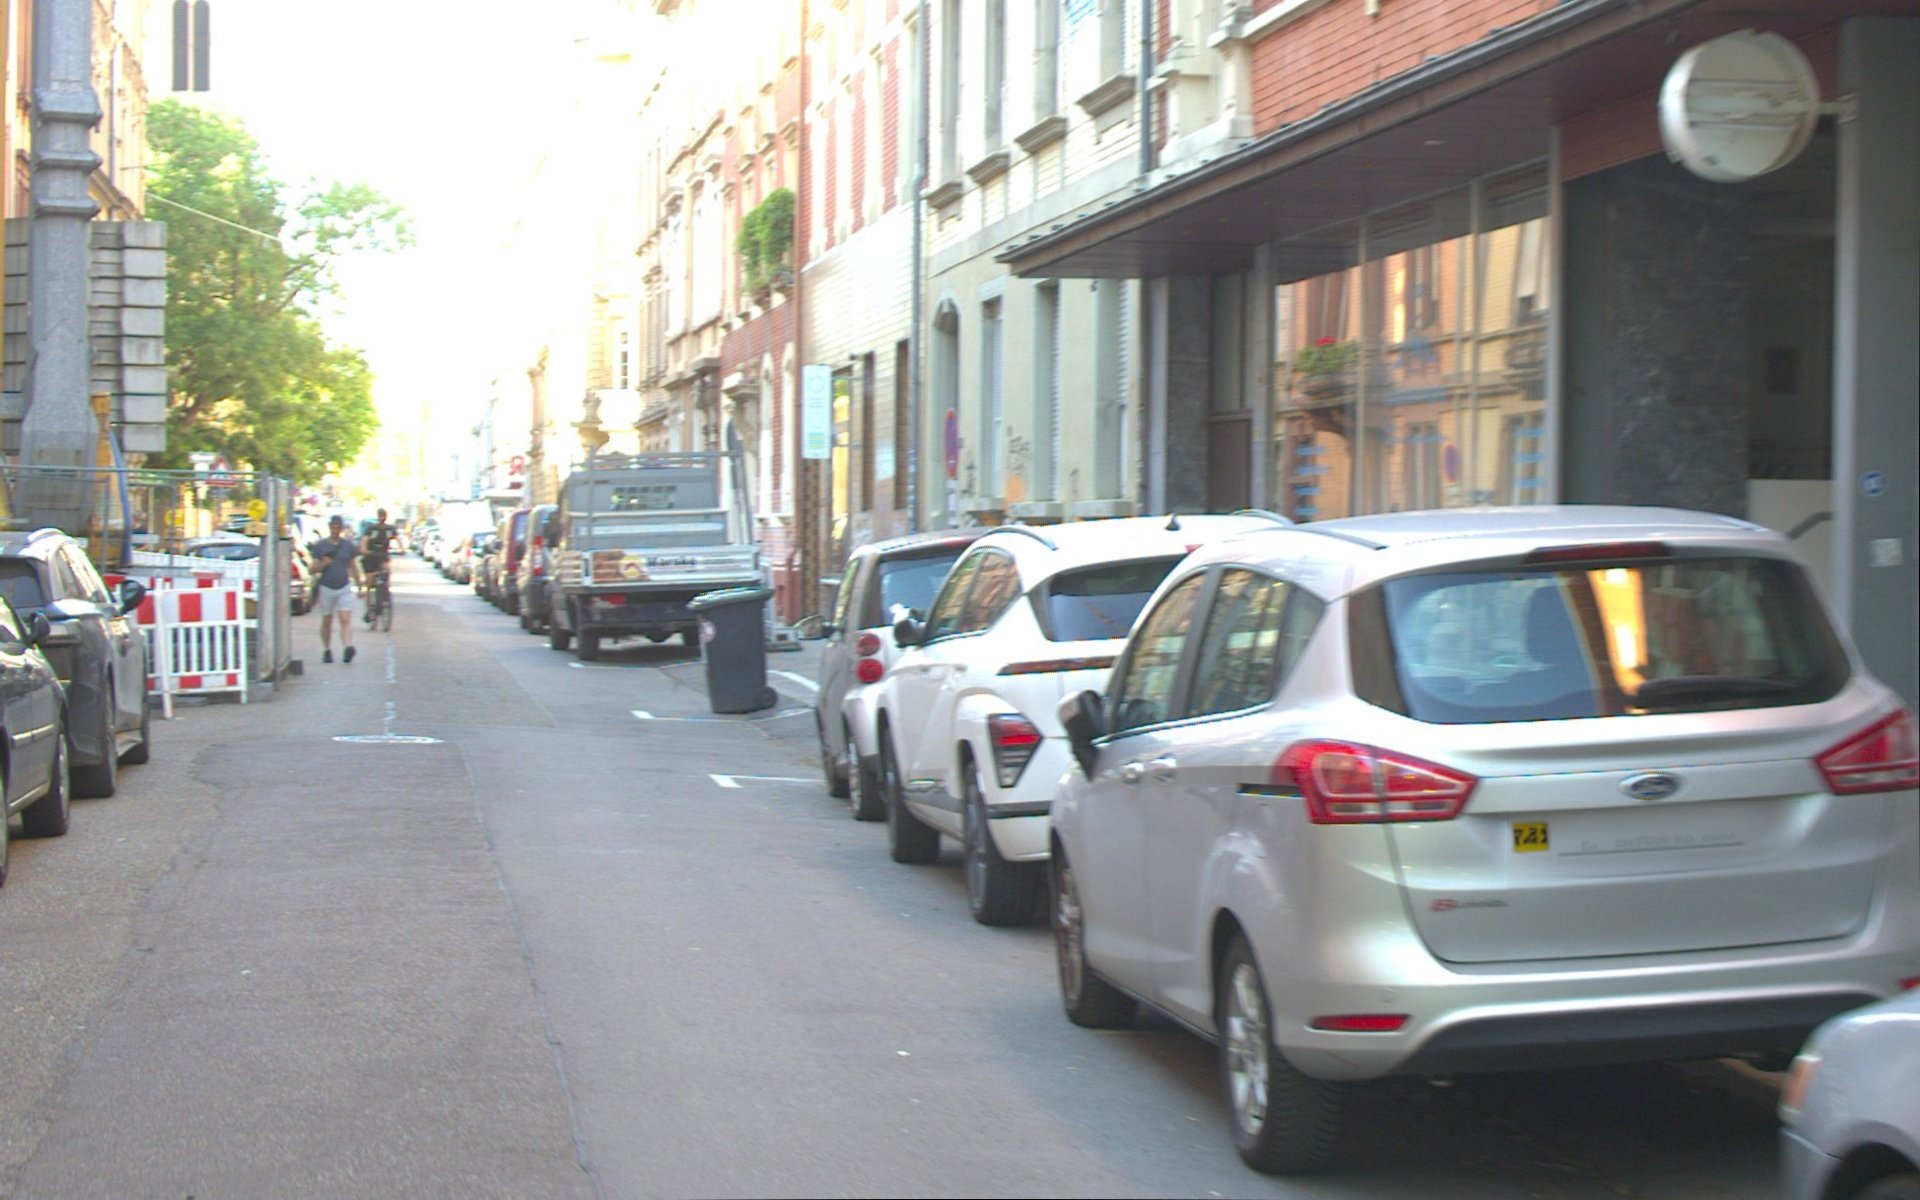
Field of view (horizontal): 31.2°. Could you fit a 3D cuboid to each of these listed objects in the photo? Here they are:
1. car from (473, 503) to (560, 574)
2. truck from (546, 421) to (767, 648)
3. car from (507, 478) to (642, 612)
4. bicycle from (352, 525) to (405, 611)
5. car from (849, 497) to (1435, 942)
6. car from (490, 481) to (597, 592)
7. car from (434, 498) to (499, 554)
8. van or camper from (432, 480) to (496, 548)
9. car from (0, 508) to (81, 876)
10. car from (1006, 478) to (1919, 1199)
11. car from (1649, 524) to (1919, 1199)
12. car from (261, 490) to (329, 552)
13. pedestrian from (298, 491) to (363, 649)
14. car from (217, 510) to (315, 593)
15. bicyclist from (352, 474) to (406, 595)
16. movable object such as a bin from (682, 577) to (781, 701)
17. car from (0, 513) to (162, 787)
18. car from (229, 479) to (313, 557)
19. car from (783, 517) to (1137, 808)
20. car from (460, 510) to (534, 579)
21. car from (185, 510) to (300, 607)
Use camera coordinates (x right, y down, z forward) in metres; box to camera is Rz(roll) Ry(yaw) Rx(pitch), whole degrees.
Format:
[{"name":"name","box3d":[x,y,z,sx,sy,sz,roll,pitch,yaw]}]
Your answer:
[{"name":"car","box3d":[-10.098,-1.403,78.045,1.674,1.565,3.870,0,1,-12]},{"name":"truck","box3d":[-3.792,-0.824,42.097,2.189,2.598,5.236,0,2,-10]},{"name":"car","box3d":[-5.916,-0.849,52.397,1.674,1.956,4.110,0,1,-12]},{"name":"bicycle","box3d":[-8.567,-0.487,50.697,0.724,1.182,2.043,2,2,-9]},{"name":"car","box3d":[0.628,0.405,15.145,1.746,1.670,4.342,0,1,-8]},{"name":"car","box3d":[-7.873,-1.206,64.740,1.674,2.024,3.870,0,1,-12]},{"name":"car","box3d":[-16.609,-2.504,115.636,1.993,1.842,4.001,0,2,-11]},{"name":"van or camper","box3d":[-18.831,-3.269,130.364,1.993,2.499,4.204,-1,2,-13]},{"name":"car","box3d":[-5.023,0.342,15.518,1.674,1.506,4.416,0,1,-10]},{"name":"car","box3d":[1.259,0.527,9.574,1.639,1.650,3.870,1,1,-8]},{"name":"car","box3d":[2.340,0.730,3.584,1.721,1.556,4.400,1,2,-9]},{"name":"car","box3d":[-20.263,-2.416,104.874,1.993,1.842,4.001,0,2,-11]},{"name":"pedestrian","box3d":[-6.994,-0.341,38.218,0.657,1.726,0.720,-2,2,-10]},{"name":"car","box3d":[-12.514,-0.888,61.960,1.674,1.440,3.870,0,1,-12]},{"name":"bicyclist","box3d":[-8.568,-0.973,50.707,0.730,1.755,0.835,1,2,-9]},{"name":"movable object such as a bin","box3d":[-1.995,0.340,29.989,0.795,1.052,0.660,1,1,-9]},{"name":"car","box3d":[-5.809,0.221,20.689,1.674,1.472,4.609,0,1,-10]},{"name":"car","box3d":[-14.428,-1.709,71.945,1.674,1.565,3.870,0,1,-12]},{"name":"car","box3d":[-0.093,0.292,20.396,1.596,1.555,3.815,0,1,-8]},{"name":"car","box3d":[-13.788,-1.665,102.210,1.993,2.007,4.001,0,1,-11]},{"name":"car","box3d":[-11.108,-0.656,53.256,1.674,1.440,3.870,0,1,-12]}]
